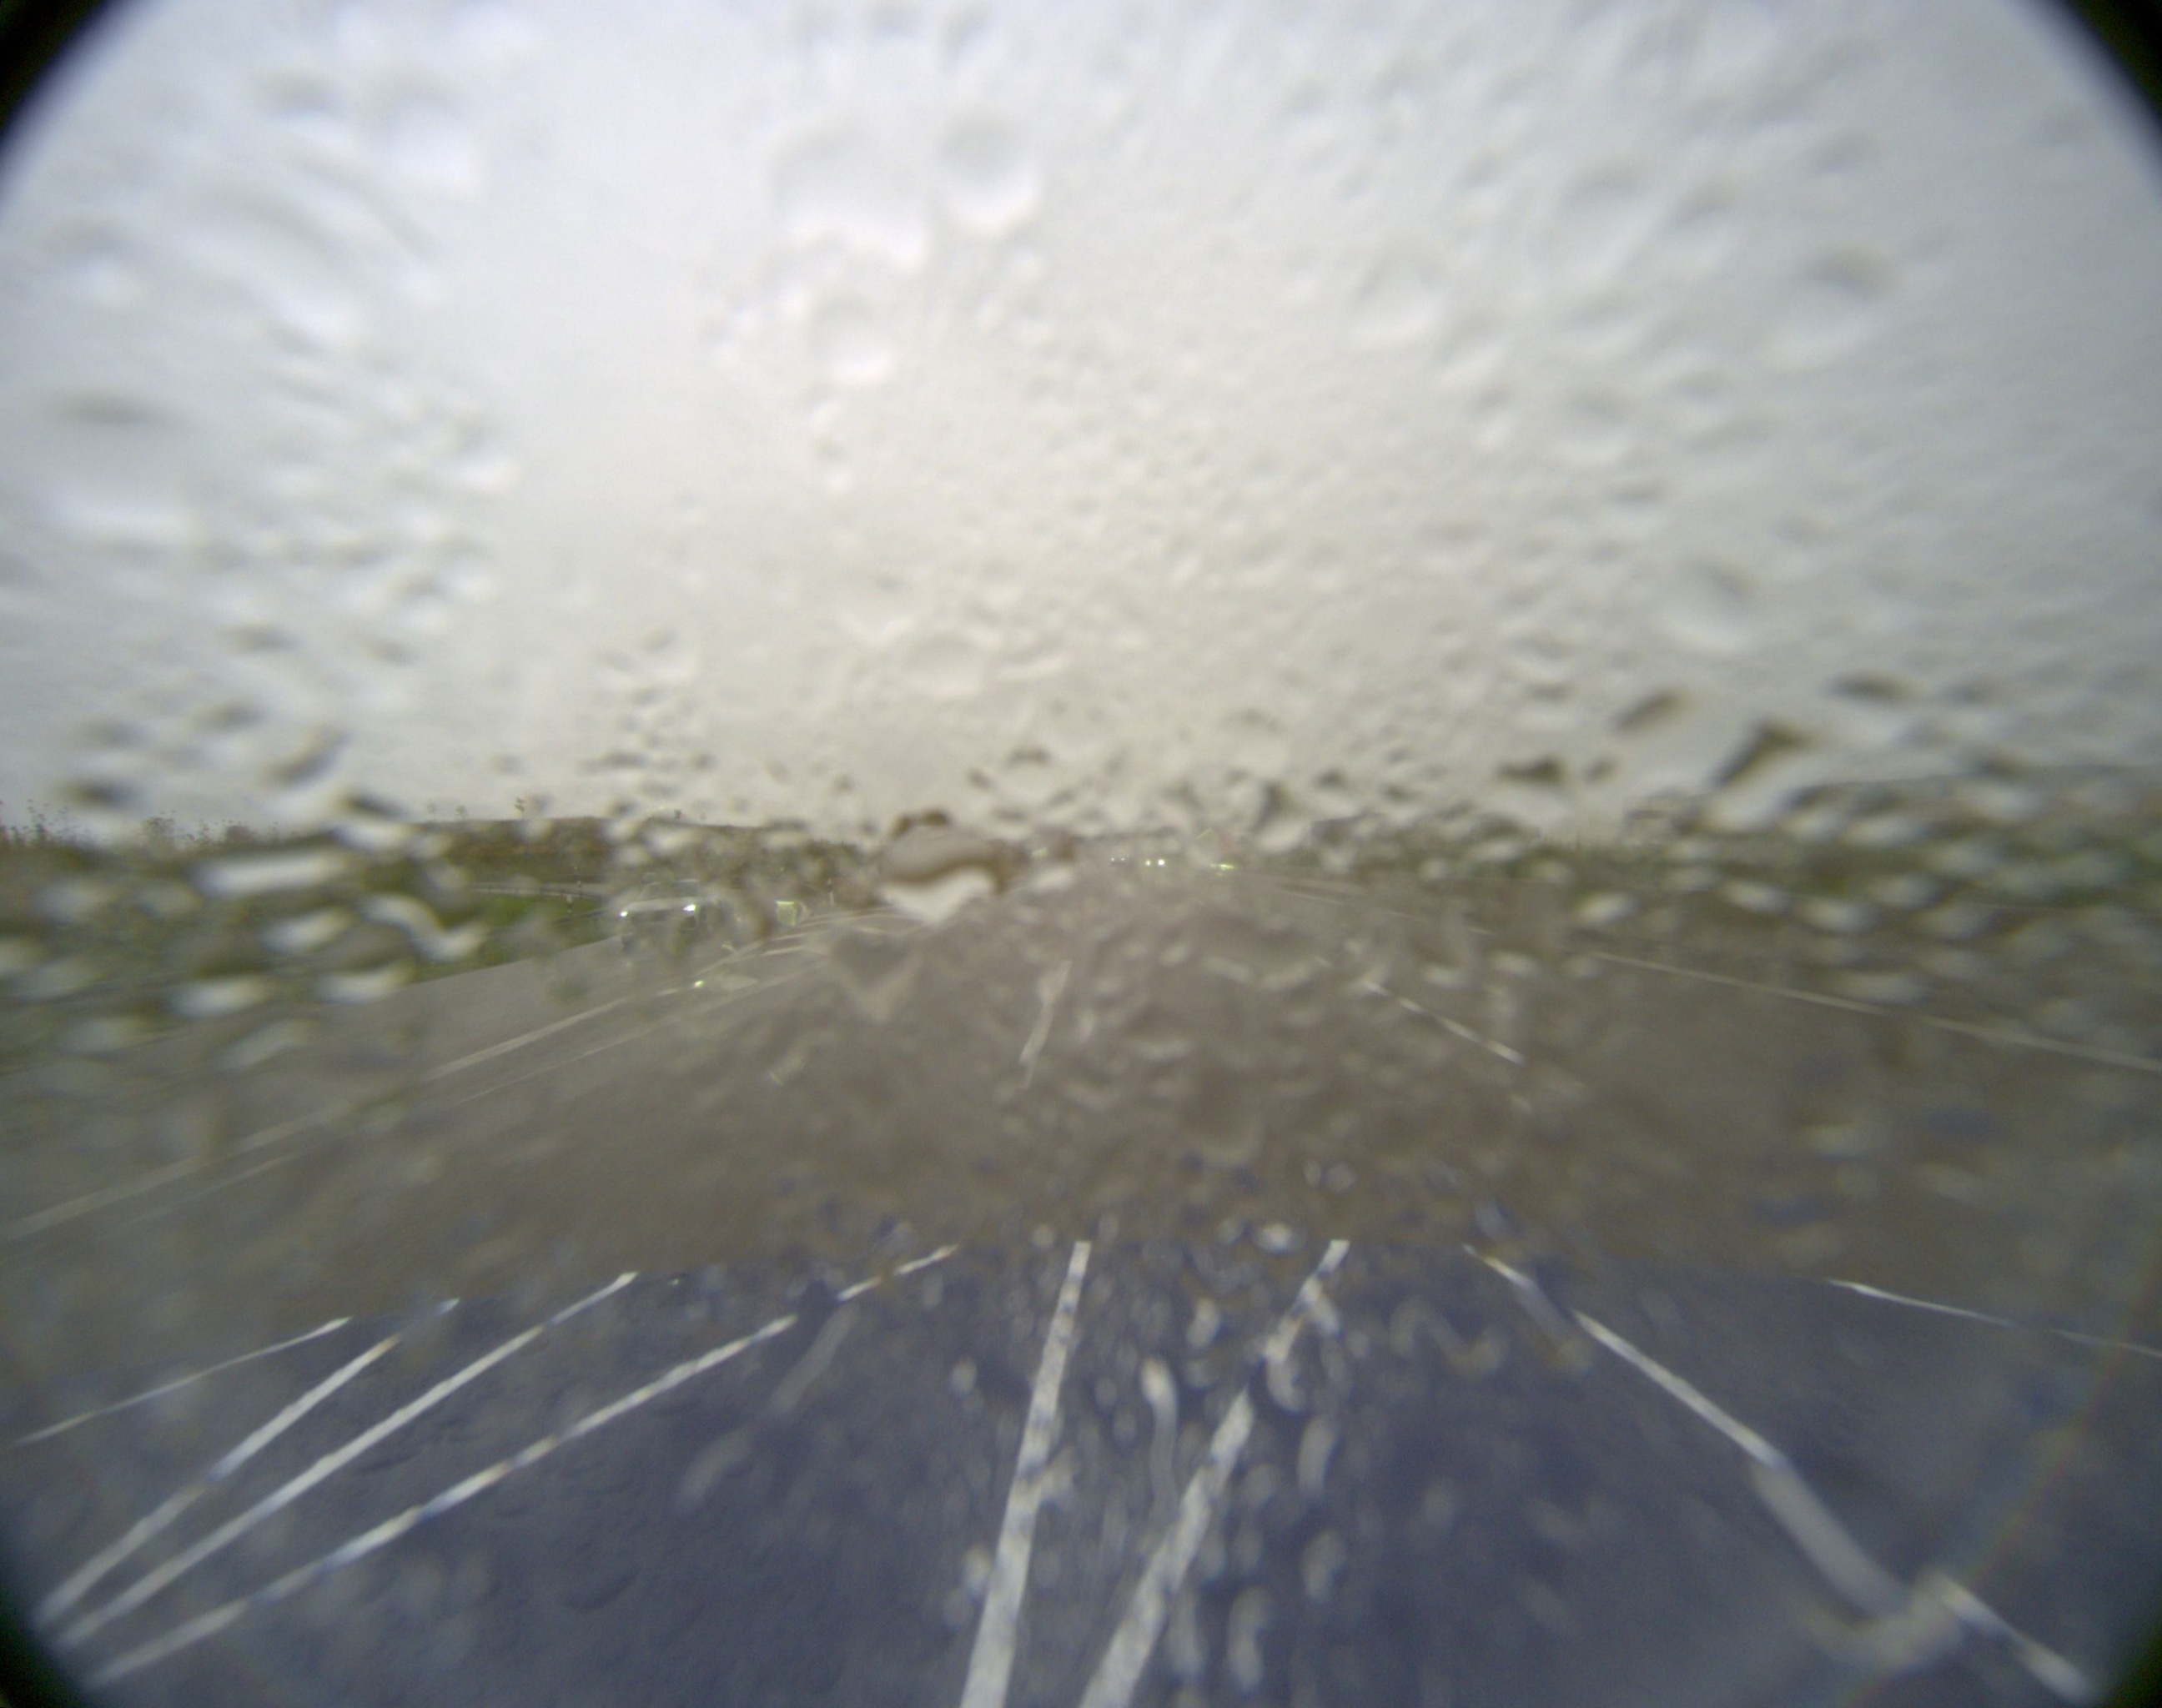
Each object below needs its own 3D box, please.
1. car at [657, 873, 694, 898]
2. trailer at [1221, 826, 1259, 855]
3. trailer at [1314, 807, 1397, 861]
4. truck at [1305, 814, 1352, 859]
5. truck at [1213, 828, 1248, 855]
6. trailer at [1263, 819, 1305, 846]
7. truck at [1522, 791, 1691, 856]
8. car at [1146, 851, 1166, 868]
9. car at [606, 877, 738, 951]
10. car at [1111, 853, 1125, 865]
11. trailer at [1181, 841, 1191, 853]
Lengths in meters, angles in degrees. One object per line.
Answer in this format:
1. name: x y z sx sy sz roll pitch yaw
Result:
1. car: -24.668 1.884 46.213 1.823 1.281 3.991 -3 1 -29
2. trailer: 20.281 -1.644 97.741 3.265 3.436 9.443 -1 0 3
3. trailer: 22.285 -1.532 62.671 2.441 3.916 13.493 -2 0 3
4. truck: 22.608 -1.553 69.757 2.491 3.903 5.610 -3 0 2
5. truck: 20.578 -1.661 105.248 3.273 3.421 10.130 -1 0 2
6. trailer: 28.554 -2.958 107.575 3.121 3.398 14.238 -1 0 4
7. truck: 26.564 -1.451 39.066 2.827 2.892 8.279 -2 1 -1
8. car: 7.615 0.553 77.485 1.700 1.543 3.733 -2 1 2
9. car: -10.799 1.496 20.450 1.915 1.477 4.472 -6 1 -13
10. car: 5.225 0.696 107.364 1.701 1.543 3.732 -2 1 0
11. trailer: 35.078 -2.337 253.938 2.229 3.974 14.209 -3 0 4
